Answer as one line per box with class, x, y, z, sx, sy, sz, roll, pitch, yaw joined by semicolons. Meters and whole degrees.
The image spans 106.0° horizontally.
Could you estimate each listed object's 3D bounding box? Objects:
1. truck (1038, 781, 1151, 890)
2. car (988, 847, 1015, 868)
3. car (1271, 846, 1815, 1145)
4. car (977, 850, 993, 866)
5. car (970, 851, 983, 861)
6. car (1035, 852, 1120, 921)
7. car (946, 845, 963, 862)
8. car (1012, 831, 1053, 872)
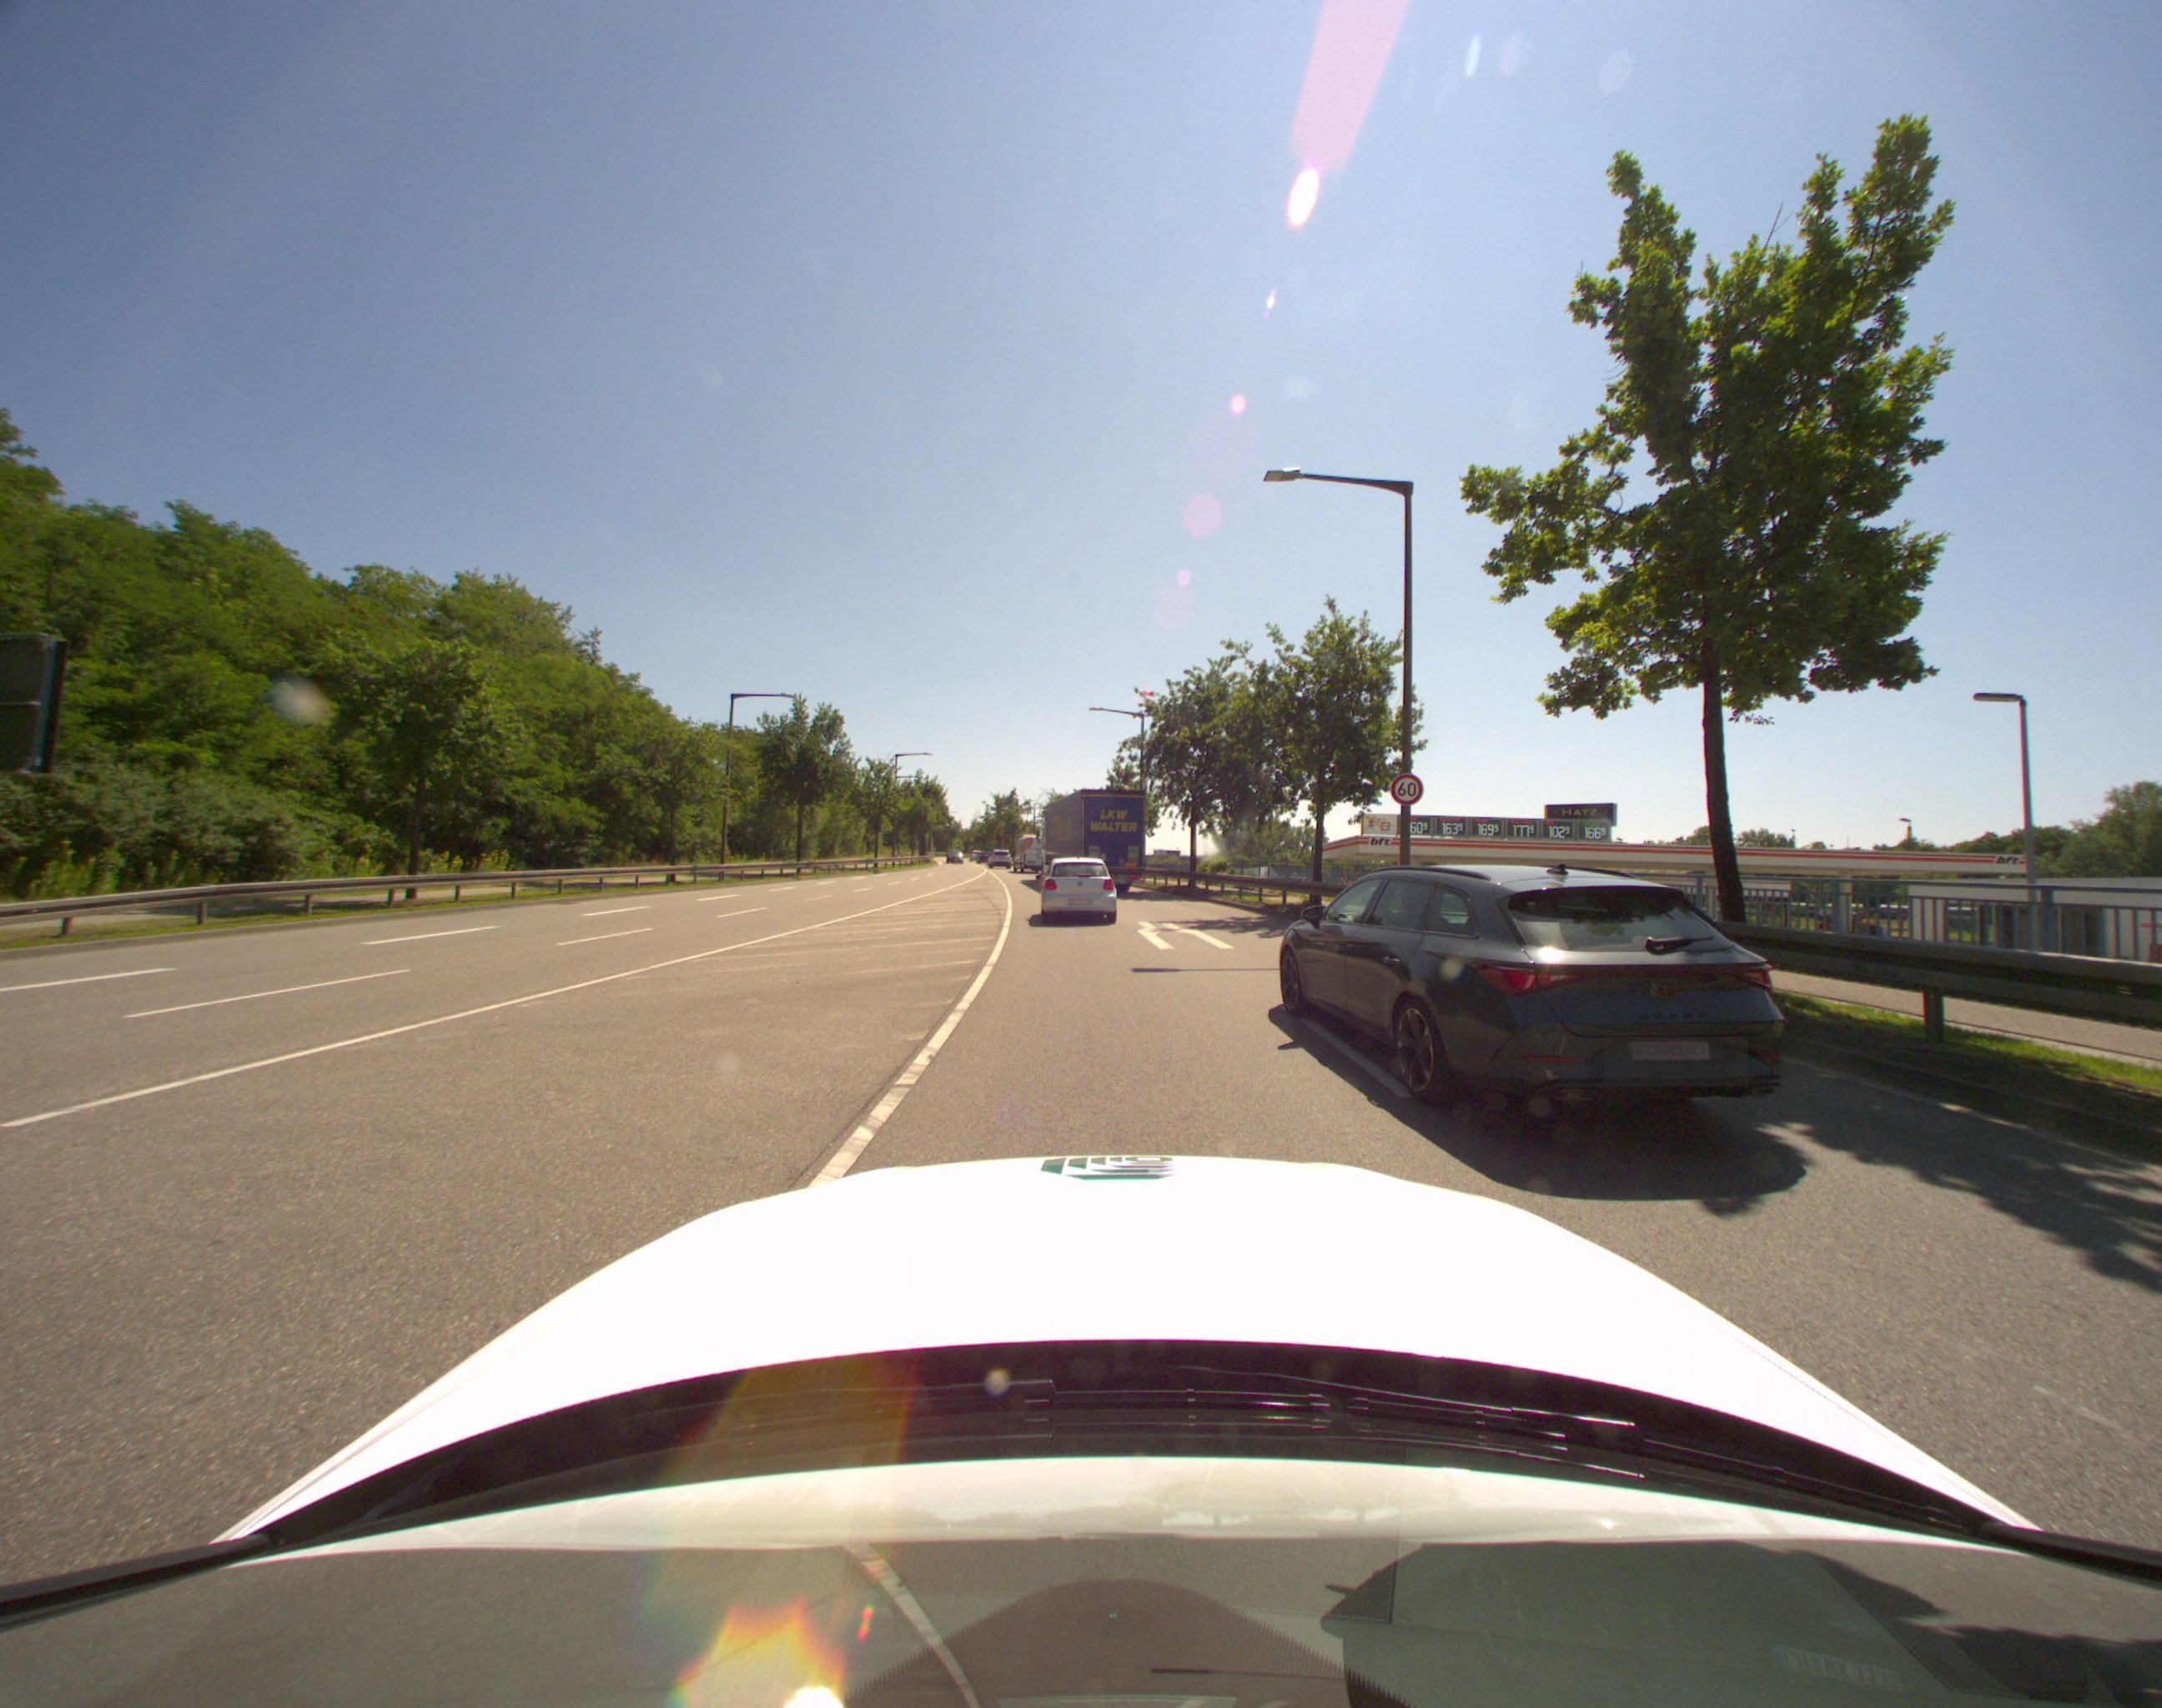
truck;0.098;-0.540;39.640;2.832;4.199;16.423;1;-1;-8
car;-7.173;0.358;72.957;1.905;1.718;4.204;1;-2;-13
car;2.791;0.776;6.149;1.600;1.456;4.231;1;-2;-2
car;-11.187;0.439;94.739;1.721;1.726;3.988;1;-2;-8
car;-13.994;0.272;108.798;1.607;1.360;3.652;1;-1;-8
car;-0.171;0.748;19.085;1.644;1.439;3.529;1;-2;-6
car;-13.437;-0.055;86.646;1.677;1.671;3.747;0;1;-6
car;-3.705;-0.179;61.340;2.177;2.900;6.333;1;0;-11
